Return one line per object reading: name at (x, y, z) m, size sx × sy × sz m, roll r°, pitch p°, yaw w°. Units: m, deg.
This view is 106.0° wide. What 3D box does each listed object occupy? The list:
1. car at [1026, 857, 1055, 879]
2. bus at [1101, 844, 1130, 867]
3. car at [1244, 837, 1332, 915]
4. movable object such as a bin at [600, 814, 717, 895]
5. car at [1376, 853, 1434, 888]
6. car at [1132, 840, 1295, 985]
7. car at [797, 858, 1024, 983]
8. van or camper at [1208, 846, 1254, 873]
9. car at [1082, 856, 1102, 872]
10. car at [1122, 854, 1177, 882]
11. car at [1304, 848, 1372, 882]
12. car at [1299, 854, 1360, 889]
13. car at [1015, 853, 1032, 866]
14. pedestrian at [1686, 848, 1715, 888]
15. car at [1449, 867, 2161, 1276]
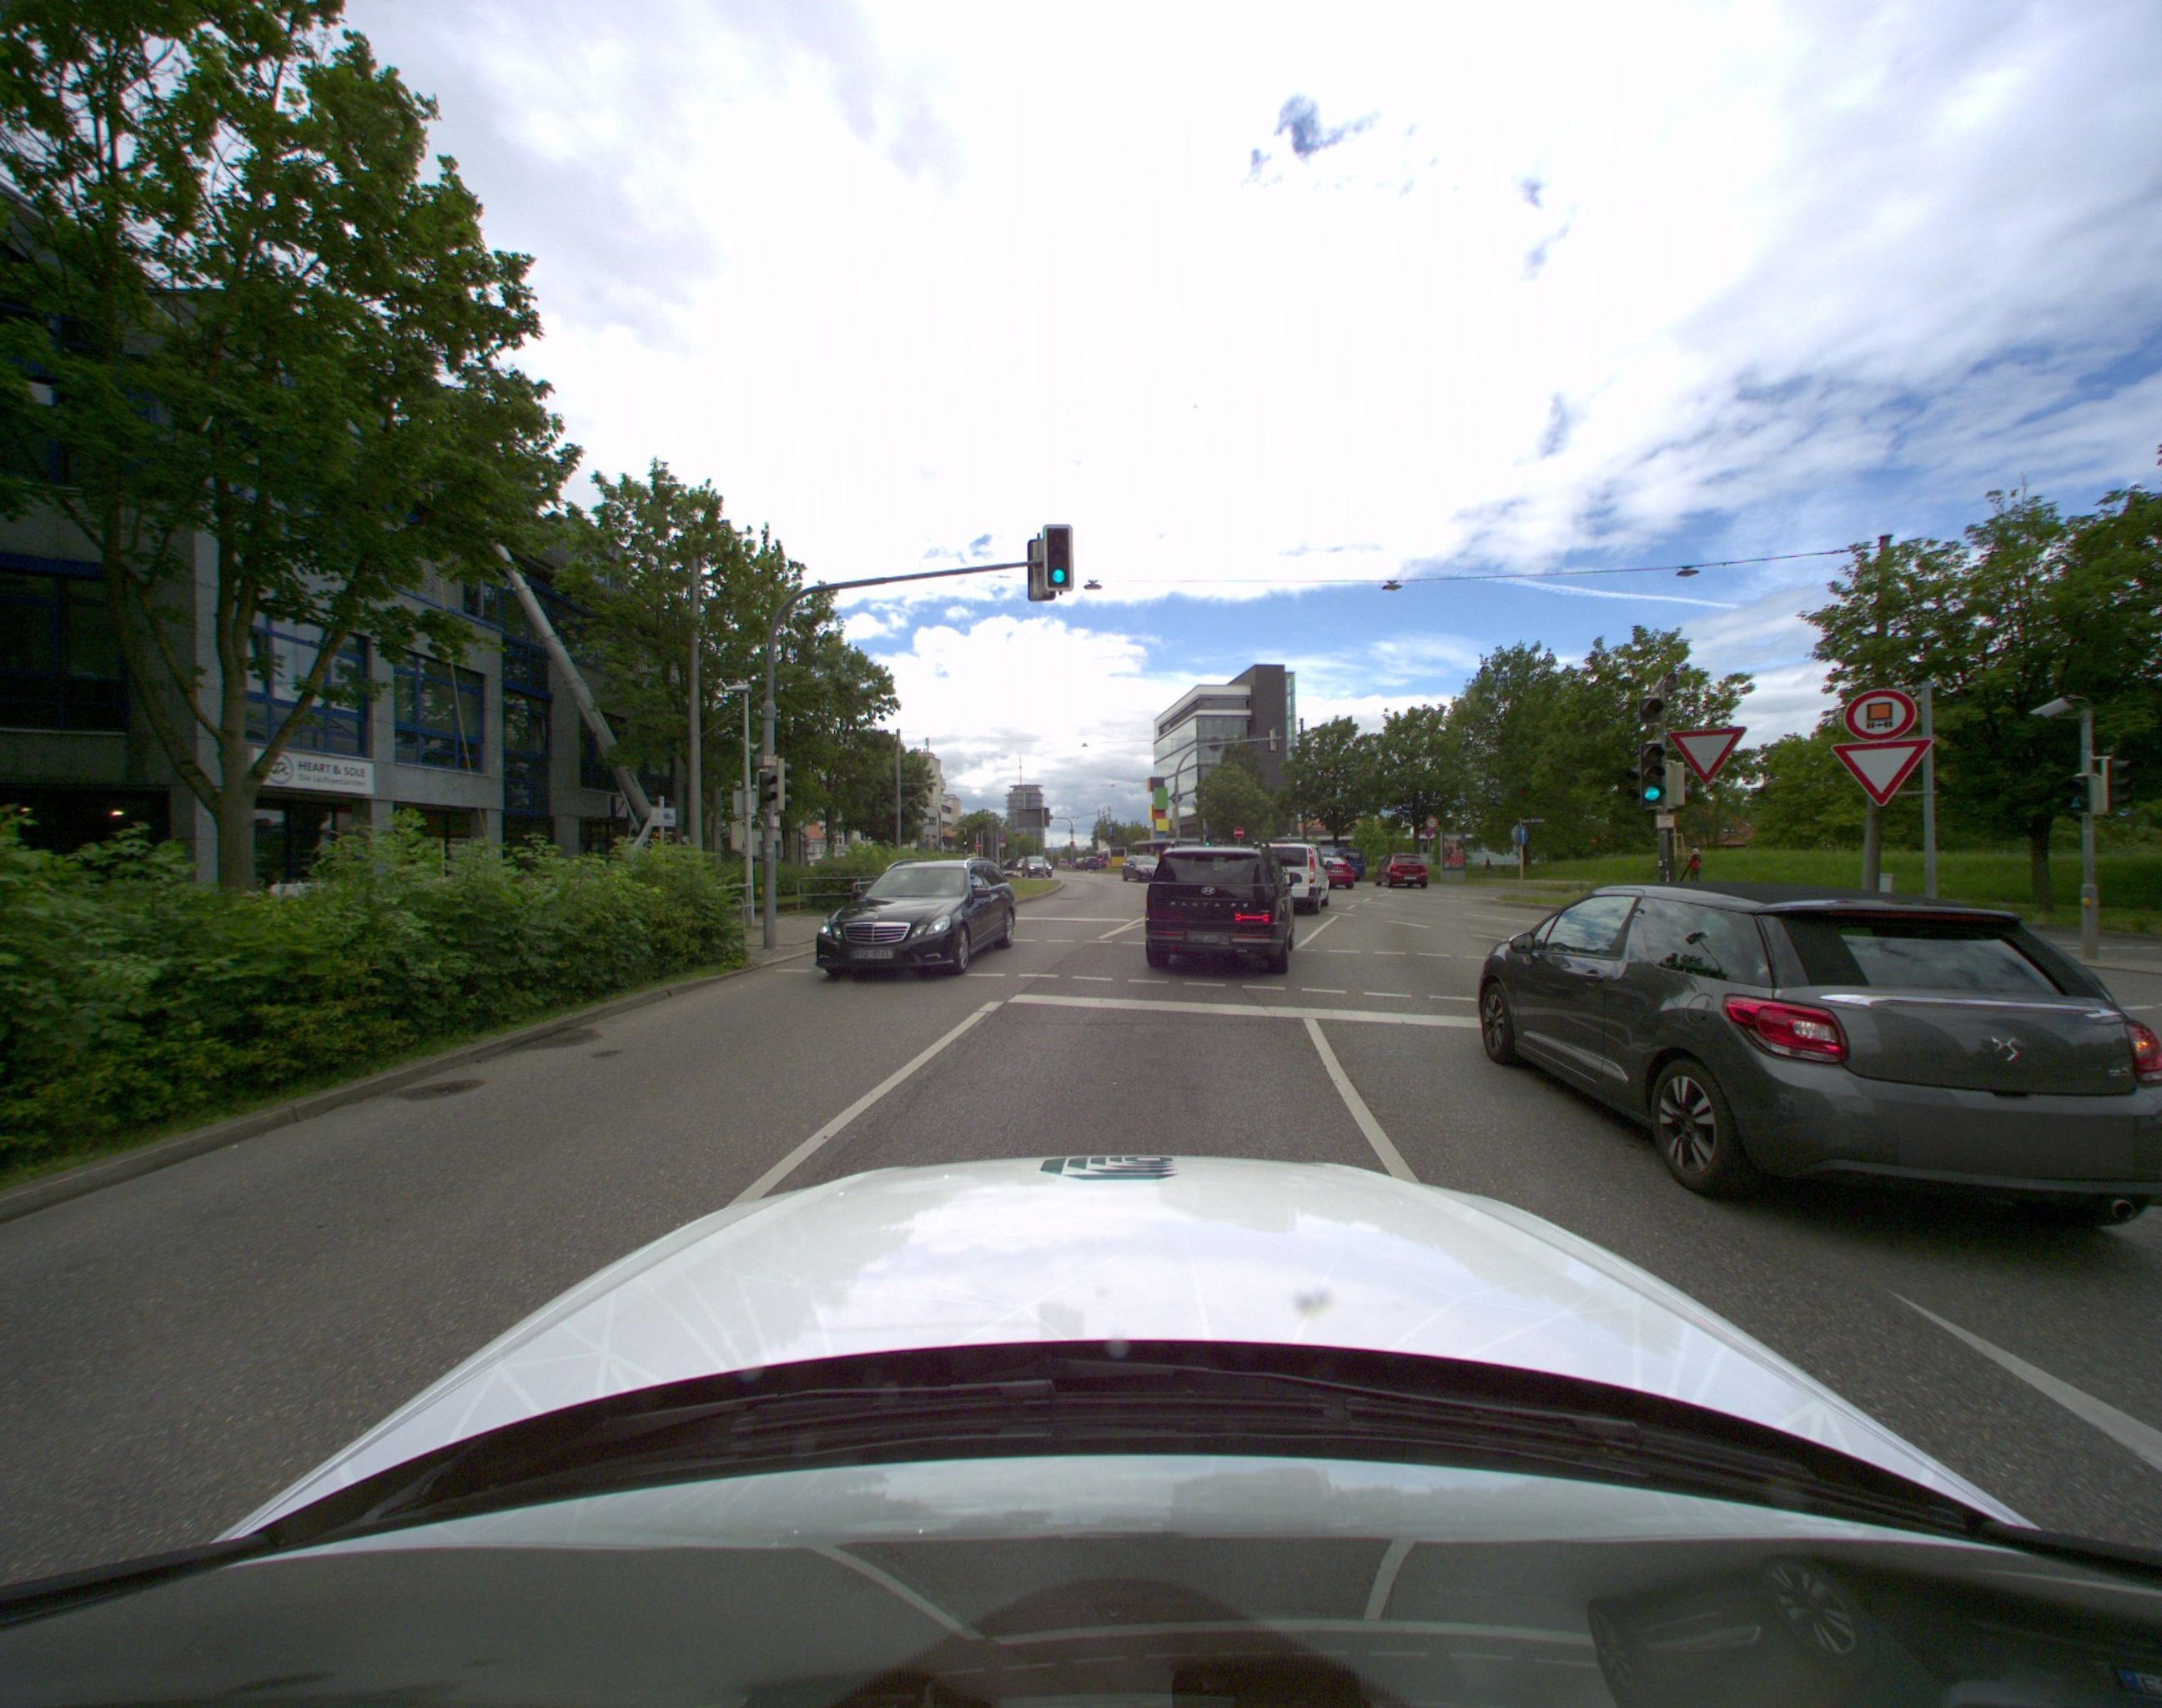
car at (-3.086, 1.023, 61.504) m, size 1.782 × 1.537 × 4.382 m, roll 1°, pitch 1°, yaw -9°
bus at (4.961, 0.321, 119.043) m, size 2.961 × 3.116 × 9.228 m, roll -2°, pitch -1°, yaw -4°
car at (6.000, 0.566, 23.200) m, size 1.886 × 1.969 × 4.659 m, roll 1°, pitch 0°, yaw 21°
movable object such as a bin at (-14.534, 0.005, 28.291) m, size 1.900 × 2.531 × 4.124 m, roll 2°, pitch 0°, yaw -2°
car at (14.628, 0.702, 36.923) m, size 1.734 × 1.481 × 3.729 m, roll 0°, pitch 0°, yaw 10°
car at (2.176, 0.701, 12.203) m, size 1.888 × 1.731 × 4.465 m, roll 1°, pitch 0°, yaw 16°
car at (-2.227, 0.814, 12.108) m, size 1.835 × 1.436 × 4.715 m, roll -2°, pitch 0°, yaw 7°
van or camper at (11.283, 0.403, 61.570) m, size 1.994 × 1.917 × 4.394 m, roll 0°, pitch 1°, yaw -10°
car at (1.289, 1.189, 96.567) m, size 1.899 × 1.859 × 4.700 m, roll 1°, pitch 0°, yaw -6°
car at (3.649, 0.726, 44.375) m, size 1.784 × 1.425 × 4.378 m, roll 1°, pitch 1°, yaw -12°
car at (14.638, 0.585, 46.670) m, size 1.901 × 1.859 × 4.696 m, roll 1°, pitch 0°, yaw -8°
car at (10.940, 0.739, 36.121) m, size 1.863 × 1.418 × 4.452 m, roll 1°, pitch 0°, yaw 8°
car at (-7.016, 0.670, 98.523) m, size 1.796 × 1.455 × 4.601 m, roll -1°, pitch -1°, yaw -7°
pedestrian at (25.293, 0.559, 33.249) m, size 0.542 × 1.604 × 0.699 m, roll -5°, pitch 2°, yaw -13°
car at (3.837, 0.851, 5.142) m, size 1.691 × 1.461 × 4.071 m, roll 1°, pitch 0°, yaw 8°
